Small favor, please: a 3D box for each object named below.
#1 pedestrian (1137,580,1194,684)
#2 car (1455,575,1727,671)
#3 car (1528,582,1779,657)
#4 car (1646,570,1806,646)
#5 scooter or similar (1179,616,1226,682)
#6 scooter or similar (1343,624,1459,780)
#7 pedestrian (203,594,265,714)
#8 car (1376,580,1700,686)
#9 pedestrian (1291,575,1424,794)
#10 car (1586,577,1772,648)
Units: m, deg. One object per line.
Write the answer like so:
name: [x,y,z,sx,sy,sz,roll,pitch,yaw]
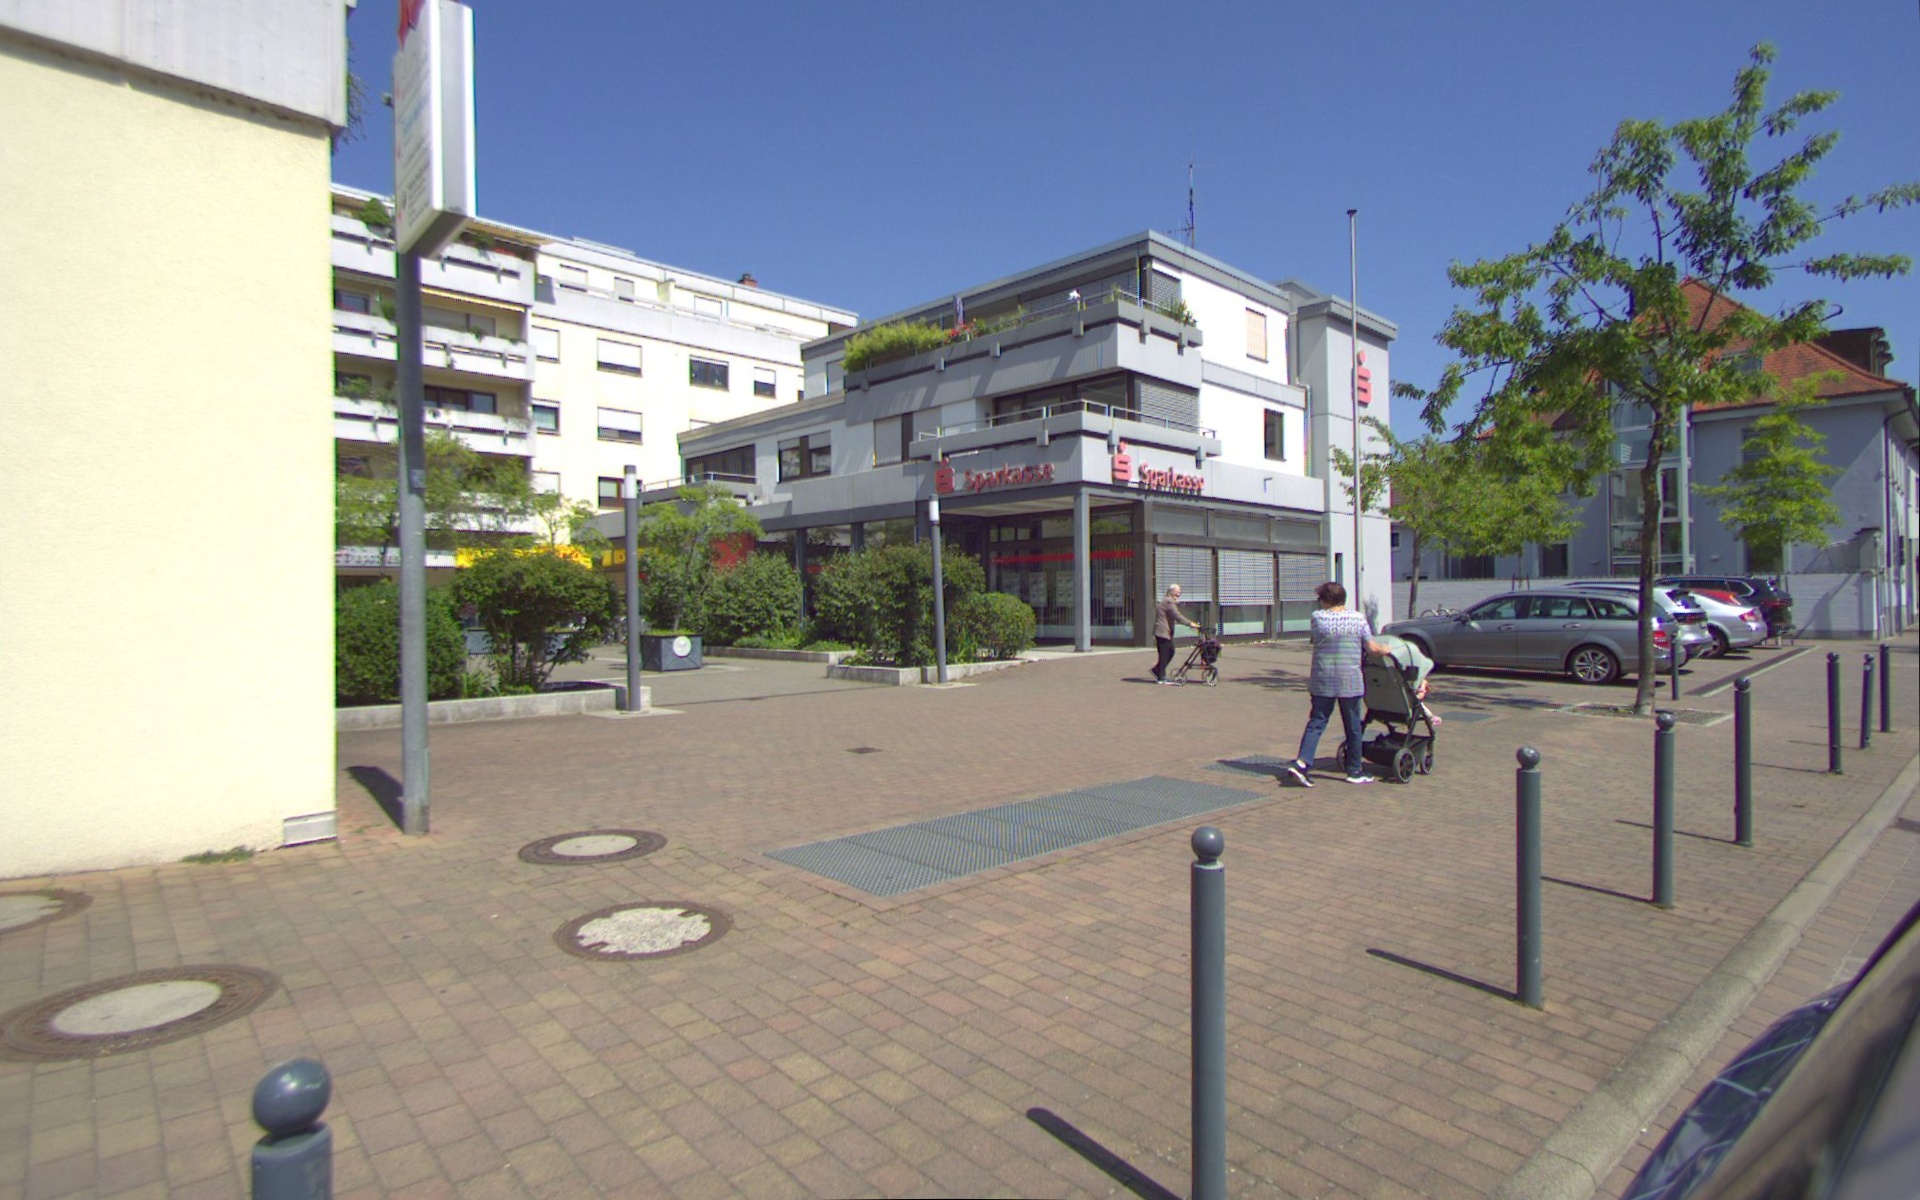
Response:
pedestrian: [3.066,0.471,15.132,0.709,1.520,0.532,0,0,-6]
car: [11.558,0.333,18.701,4.033,1.579,1.686,1,1,43]
car: [15.230,0.353,22.392,4.429,1.460,1.632,1,1,42]
car: [18.963,0.154,25.101,3.032,1.759,1.324,1,1,44]
scooter or similar: [3.635,0.727,15.188,0.536,0.958,0.537,0,0,-5]
scooter or similar: [3.527,0.778,8.077,0.893,1.132,0.505,0,1,-41]
pedestrian: [-9.397,0.672,13.093,0.594,1.482,0.794,0,0,-40]
car: [9.459,0.441,16.819,4.432,1.484,1.664,2,2,44]
pedestrian: [3.008,0.585,7.642,1.030,1.535,0.512,0,1,-41]
car: [17.057,0.269,24.090,3.421,1.571,1.467,0,0,45]
